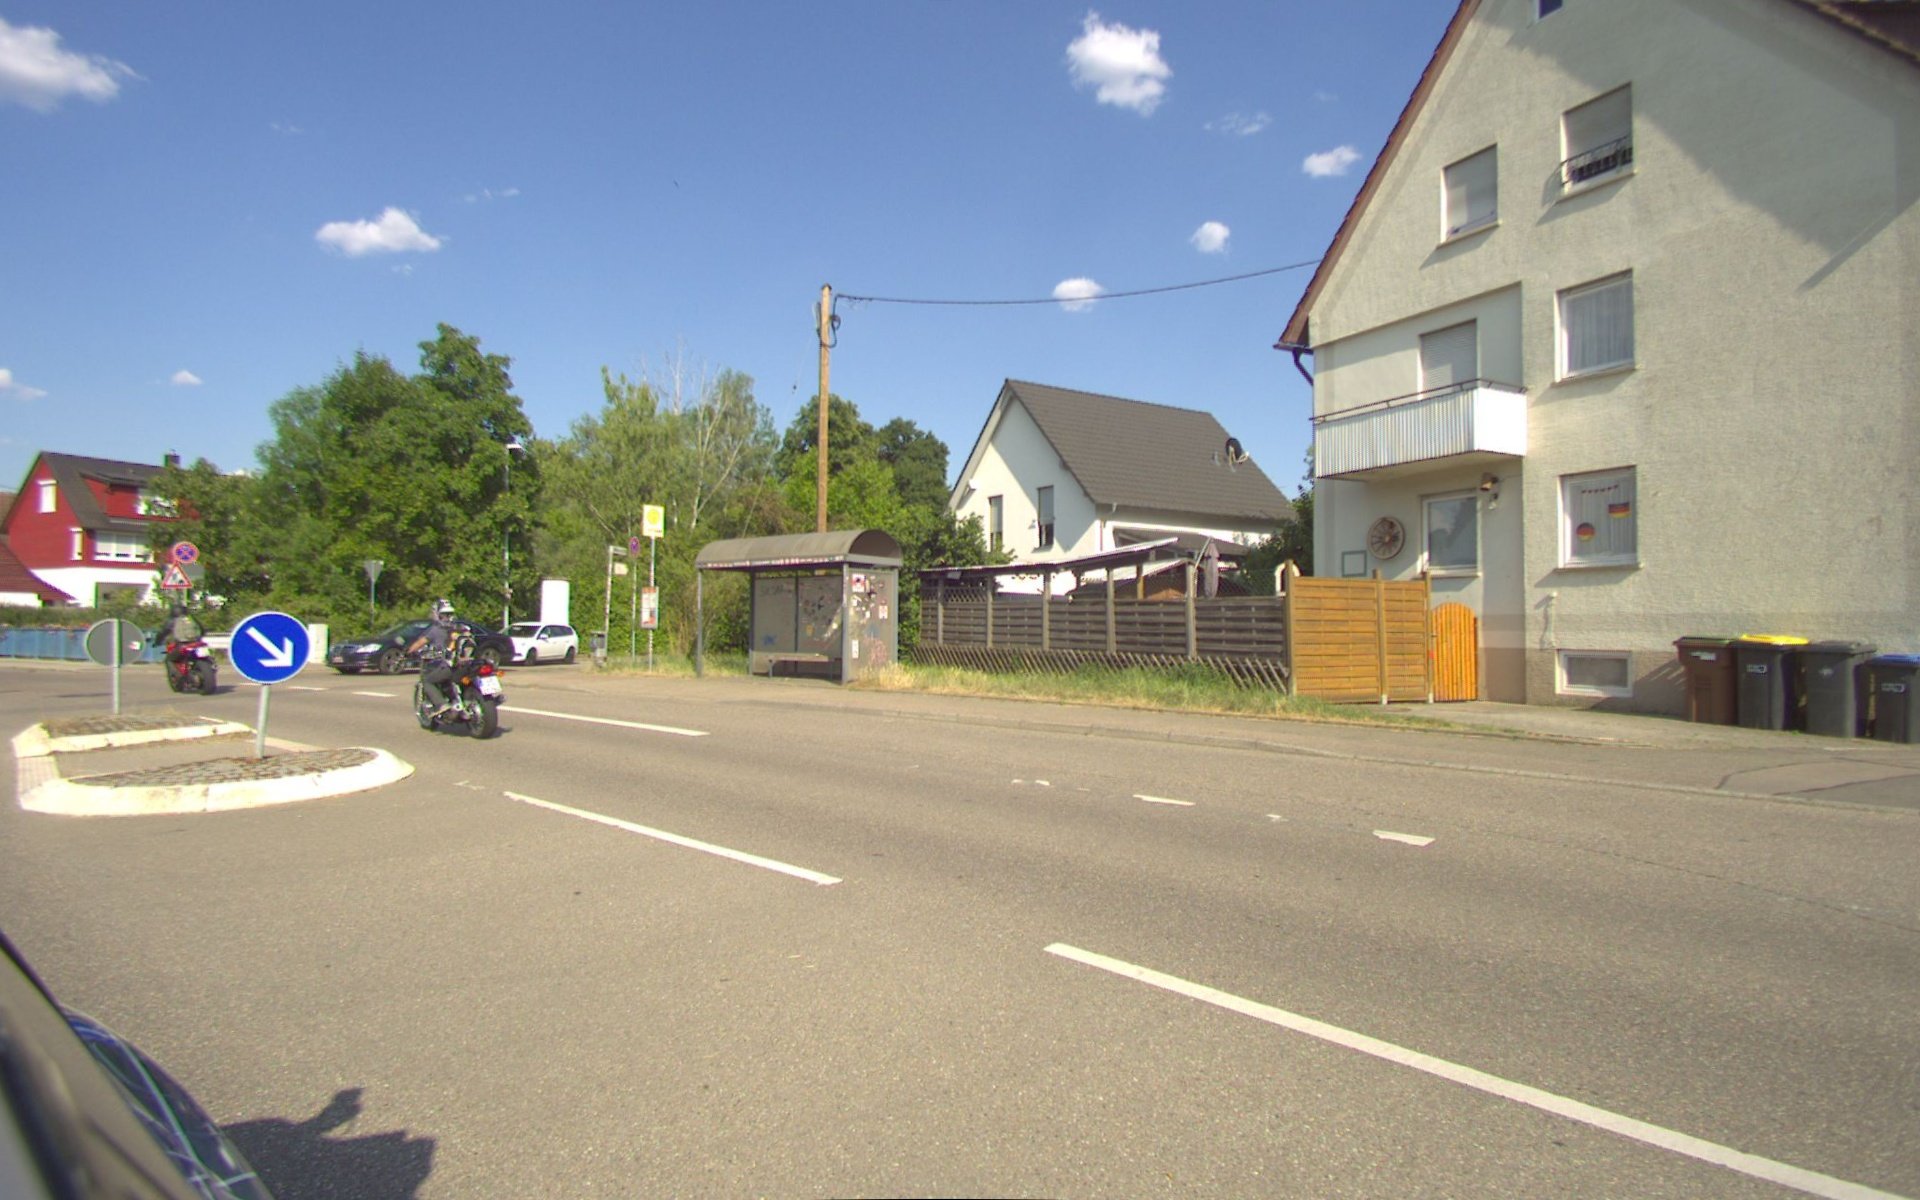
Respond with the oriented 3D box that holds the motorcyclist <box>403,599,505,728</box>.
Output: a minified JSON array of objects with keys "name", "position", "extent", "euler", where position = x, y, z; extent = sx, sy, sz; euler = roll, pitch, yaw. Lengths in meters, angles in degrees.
[{"name":"motorcyclist","position":[-5.990,0.721,11.975],"extent":[1.037,1.447,0.793],"euler":[-1,-1,45]}]

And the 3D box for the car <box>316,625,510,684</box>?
[{"name":"car","position":[-14.659,1.426,27.485],"extent":[1.755,1.442,4.819],"euler":[1,-2,16]}]

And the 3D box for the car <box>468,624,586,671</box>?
[{"name":"car","position":[-15.029,1.639,35.413],"extent":[1.840,1.503,4.265],"euler":[1,-2,8]}]

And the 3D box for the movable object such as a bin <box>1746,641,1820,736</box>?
[{"name":"movable object such as a bin","position":[9.497,1.003,11.688],"extent":[0.356,1.049,0.559],"euler":[1,-1,-29]}]

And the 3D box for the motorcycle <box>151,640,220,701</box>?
[{"name":"motorcycle","position":[-14.375,1.278,18.762],"extent":[2.025,1.020,0.533],"euler":[-1,0,38]}]

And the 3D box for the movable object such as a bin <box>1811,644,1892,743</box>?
[{"name":"movable object such as a bin","position":[9.803,1.015,11.138],"extent":[0.356,1.031,0.579],"euler":[1,-1,-29]}]

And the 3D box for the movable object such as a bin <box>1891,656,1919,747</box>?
[{"name":"movable object such as a bin","position":[10.146,1.072,10.658],"extent":[0.356,0.932,0.401],"euler":[1,-1,-29]}]

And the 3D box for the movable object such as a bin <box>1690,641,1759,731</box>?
[{"name":"movable object such as a bin","position":[9.206,1.020,12.187],"extent":[0.356,1.023,0.559],"euler":[1,-1,-29]}]

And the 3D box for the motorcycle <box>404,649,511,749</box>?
[{"name":"motorcycle","position":[-5.979,1.123,11.985],"extent":[0.518,1.020,2.029],"euler":[0,0,-45]}]

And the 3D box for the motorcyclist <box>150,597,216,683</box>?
[{"name":"motorcyclist","position":[-14.401,0.719,18.759],"extent":[1.015,1.538,0.729],"euler":[0,1,39]}]
